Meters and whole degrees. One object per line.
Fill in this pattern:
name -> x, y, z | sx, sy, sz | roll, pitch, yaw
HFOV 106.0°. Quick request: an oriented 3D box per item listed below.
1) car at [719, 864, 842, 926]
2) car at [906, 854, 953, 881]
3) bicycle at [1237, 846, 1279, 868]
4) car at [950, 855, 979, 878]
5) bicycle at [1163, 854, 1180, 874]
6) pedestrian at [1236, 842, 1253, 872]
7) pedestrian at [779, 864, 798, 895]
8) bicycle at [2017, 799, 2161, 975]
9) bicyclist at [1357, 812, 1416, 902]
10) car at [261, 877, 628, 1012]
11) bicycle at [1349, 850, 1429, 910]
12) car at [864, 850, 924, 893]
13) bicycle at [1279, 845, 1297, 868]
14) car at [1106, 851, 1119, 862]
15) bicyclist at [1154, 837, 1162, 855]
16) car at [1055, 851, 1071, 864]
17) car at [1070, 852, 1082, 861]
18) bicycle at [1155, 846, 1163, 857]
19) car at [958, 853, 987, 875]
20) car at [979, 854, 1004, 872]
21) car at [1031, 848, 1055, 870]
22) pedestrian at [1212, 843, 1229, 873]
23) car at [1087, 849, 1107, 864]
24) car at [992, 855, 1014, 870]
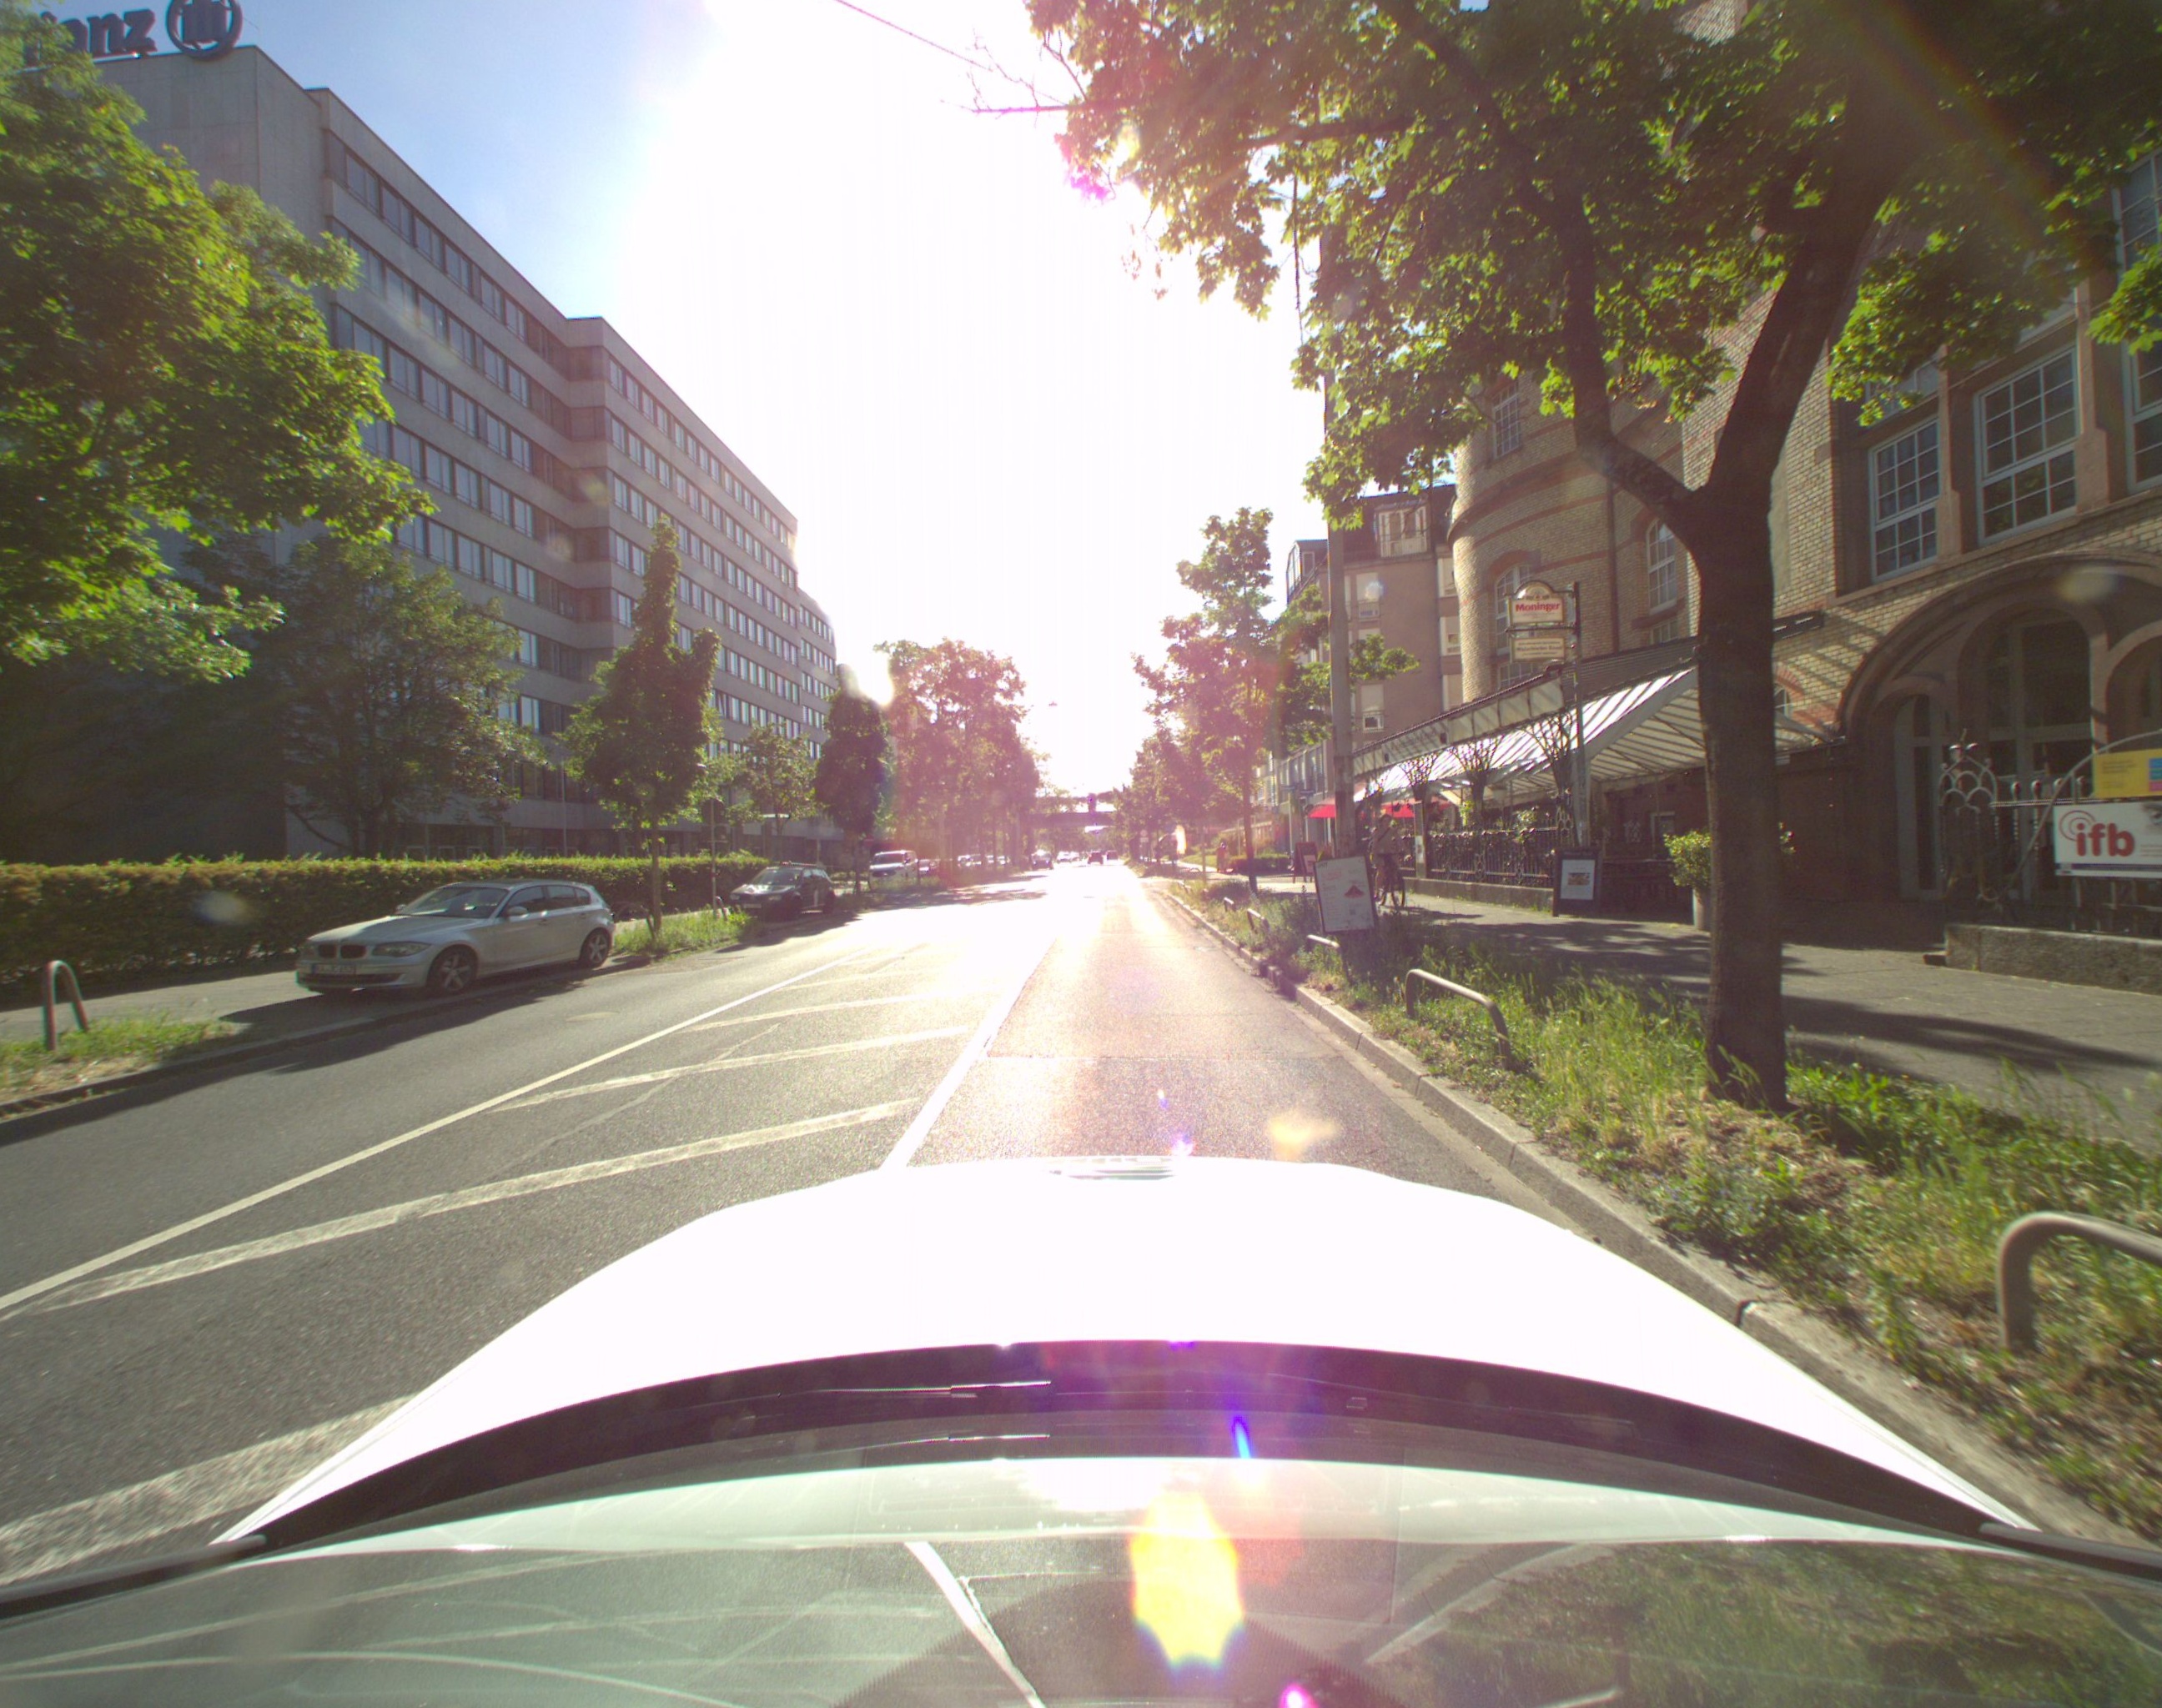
car -> -8.315, 1.077, 22.928 | 1.705, 1.458, 4.076 | -2, 0, 3
car -> -9.272, 0.784, 50.043 | 1.774, 1.523, 4.323 | -2, 0, 4
bicycle -> 9.931, 0.163, 45.737 | 2.186, 1.027, 0.688 | -4, 2, 3
car -> -9.339, 0.961, 65.448 | 1.852, 1.684, 4.659 | -2, 0, -4
bicycle -> 5.321, 0.564, 47.870 | 0.586, 1.066, 2.032 | -2, 0, 18
pedestrian -> 9.120, 0.169, 45.540 | 0.652, 1.603, 0.602 | -6, -1, -4
pedestrian -> -19.664, 1.711, 54.731 | 0.832, 2.014, 1.008 | -1, -1, 2
bicycle -> 8.220, 0.180, 5.904 | 2.192, 1.178, 0.686 | -3, -1, -5
bicyclist -> 5.695, 0.061, 15.233 | 0.698, 1.599, 0.955 | -3, -1, 1
car -> -8.590, 1.115, 11.577 | 1.680, 1.383, 4.196 | 1, 1, 4
bicycle -> 5.716, 0.463, 15.255 | 0.683, 1.027, 2.096 | -3, -1, 1
car -> -10.102, 0.878, 44.515 | 1.975, 2.076, 5.195 | -5, 0, -1
bicycle -> 11.058, 0.125, 43.562 | 0.681, 1.027, 2.210 | -4, 2, 10
car -> 4.665, 0.328, 120.124 | 1.848, 1.523, 4.322 | -2, 0, 3
bicyclist -> 7.521, -0.747, 79.178 | 0.665, 1.695, 0.889 | -2, -1, 1
car -> -2.379, 0.411, 109.742 | 1.849, 1.568, 4.716 | -4, 0, 1
car -> -0.772, 0.460, 140.213 | 1.849, 1.439, 4.319 | -4, 0, 1
bicycle -> 7.540, -0.254, 79.228 | 0.587, 1.027, 1.860 | -3, -1, 1
car -> -9.467, 0.841, 71.495 | 1.849, 1.850, 4.562 | -2, 0, 1
car -> -8.699, 0.873, 79.260 | 1.848, 1.568, 3.874 | -2, 0, 2
car -> -3.509, 0.467, 75.501 | 1.849, 1.825, 4.610 | -4, 0, 1
pedestrian -> 7.738, 0.200, 45.245 | 0.652, 1.603, 0.602 | -6, -1, -4
car -> 1.913, 0.281, 99.020 | 1.981, 1.600, 4.135 | -2, 1, -4
car -> -8.501, 0.864, 88.864 | 1.849, 1.523, 4.319 | -2, 0, 1
